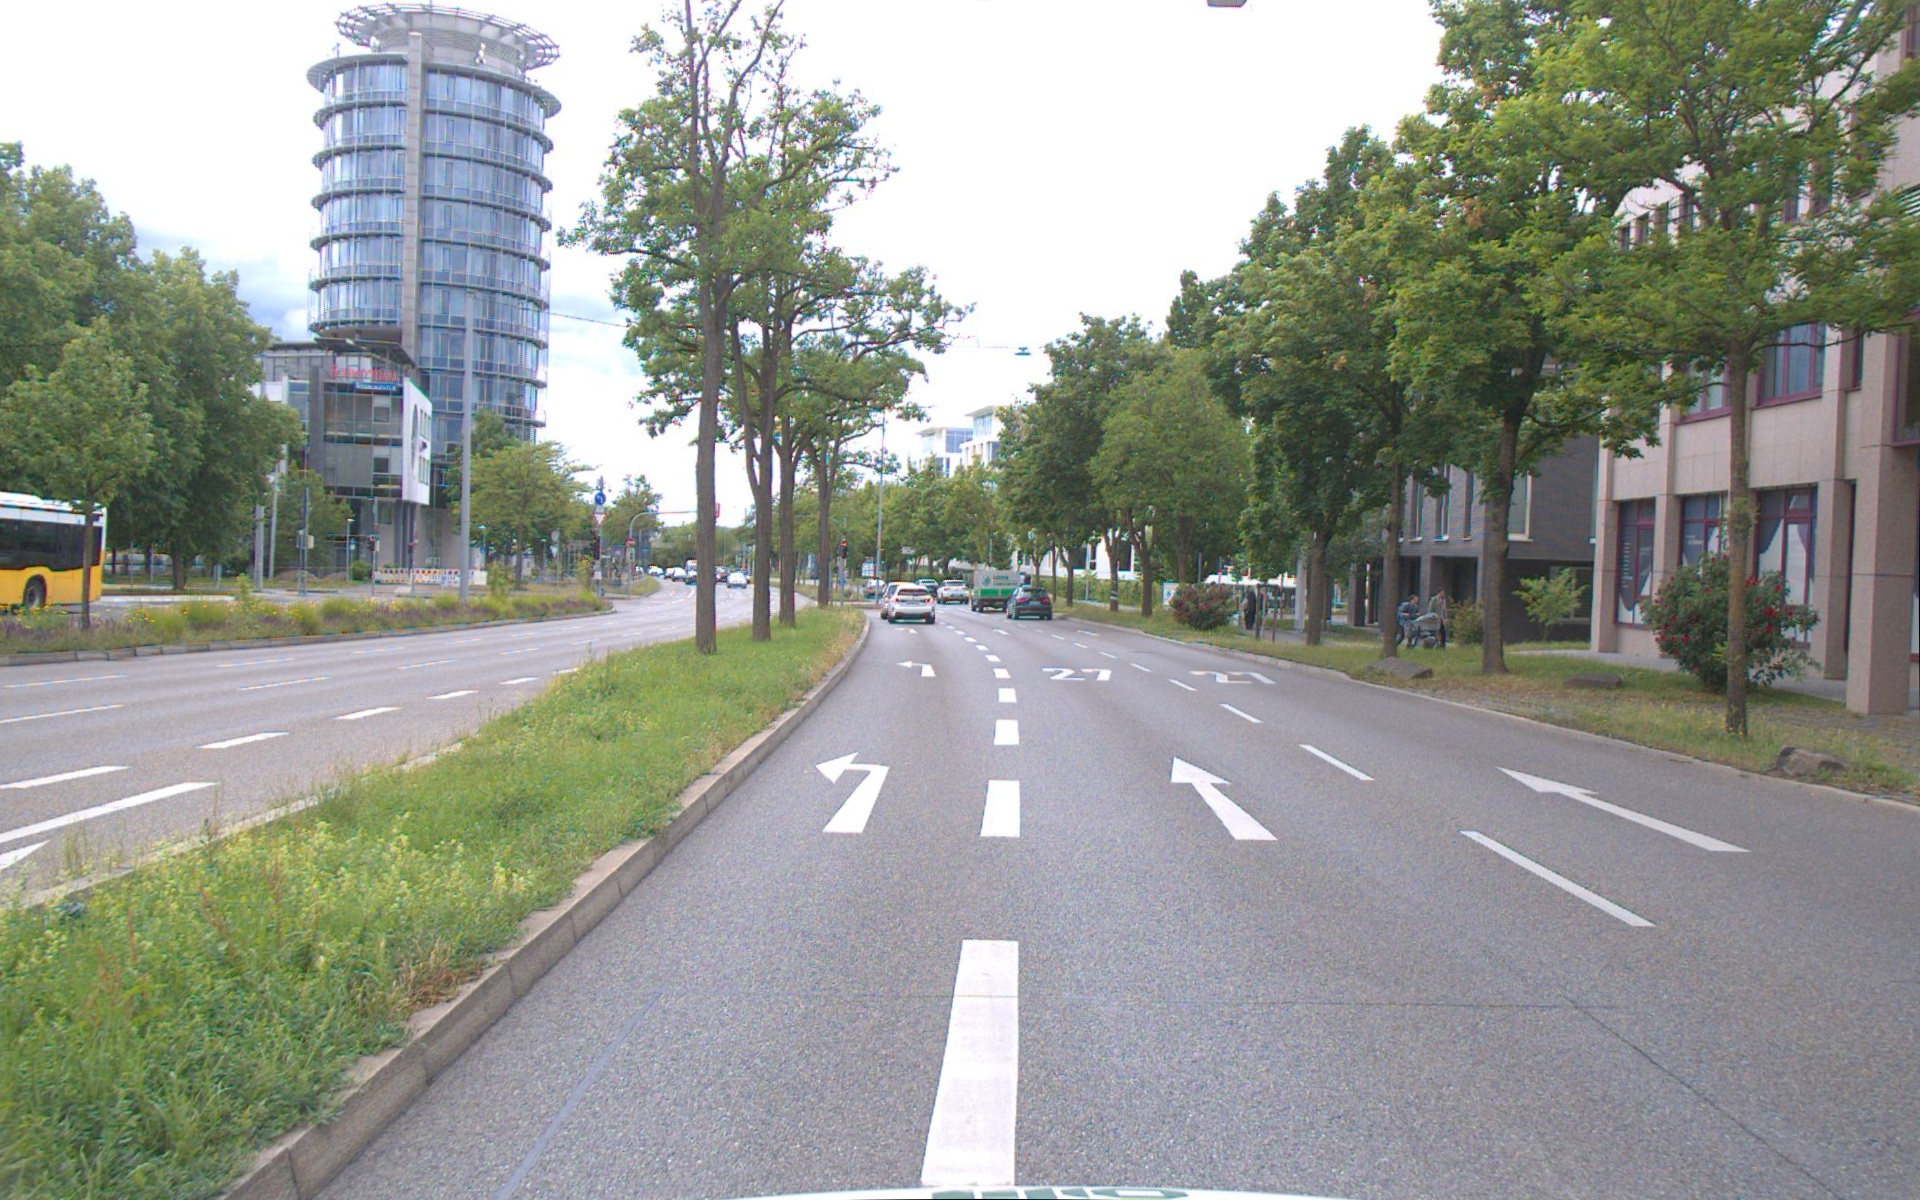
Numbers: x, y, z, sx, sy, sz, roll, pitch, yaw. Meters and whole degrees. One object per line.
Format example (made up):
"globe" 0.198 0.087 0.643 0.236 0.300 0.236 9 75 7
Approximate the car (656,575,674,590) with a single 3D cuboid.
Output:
"car" -39.155 -2.277 219.848 1.955 1.885 4.319 3 0 -6

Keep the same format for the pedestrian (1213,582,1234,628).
"pedestrian" 10.667 0.204 66.946 0.596 1.806 0.953 1 2 -3

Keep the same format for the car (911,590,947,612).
"car" -2.315 0.039 122.321 1.958 1.534 3.989 1 0 -11

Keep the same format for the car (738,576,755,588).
"car" -25.132 -2.158 194.958 1.719 1.395 3.777 0 0 -3

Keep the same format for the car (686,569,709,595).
"car" -28.814 -2.002 181.755 1.955 2.680 5.868 3 0 -6

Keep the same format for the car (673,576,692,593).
"car" -34.380 -1.923 204.870 1.955 2.046 4.319 3 0 -6

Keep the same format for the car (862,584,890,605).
"car" -6.544 -0.415 128.252 1.955 1.517 3.995 2 0 -6

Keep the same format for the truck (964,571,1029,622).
"truck" 1.913 -0.159 89.481 2.804 2.563 6.280 1 0 -5

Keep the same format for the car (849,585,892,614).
"car" -4.954 0.006 91.786 1.952 1.534 4.001 1 0 2

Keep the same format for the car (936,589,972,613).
"car" -0.422 0.037 108.846 1.955 1.534 3.995 1 0 -6

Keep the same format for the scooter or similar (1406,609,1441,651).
"scooter or similar" 11.506 0.739 41.094 0.572 1.011 0.845 0 0 -6

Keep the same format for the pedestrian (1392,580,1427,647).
"pedestrian" 11.408 0.342 41.987 0.544 1.681 0.960 0 0 -6

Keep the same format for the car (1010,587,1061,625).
"car" 3.365 0.240 74.250 1.953 1.624 3.998 1 0 -2

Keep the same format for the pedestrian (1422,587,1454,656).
"pedestrian" 12.187 0.538 42.180 0.555 1.729 0.829 1 -1 2

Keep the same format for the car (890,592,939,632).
"car" -1.779 0.470 65.711 1.825 1.474 3.999 1 0 -1

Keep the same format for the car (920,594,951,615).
"car" -1.859 0.312 124.386 1.955 1.517 3.995 2 0 -6

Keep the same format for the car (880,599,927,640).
"car" -2.472 0.850 72.293 1.953 1.701 3.998 1 0 -2

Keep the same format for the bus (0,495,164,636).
"bus" -25.275 -0.936 44.052 2.969 3.515 9.913 3 0 1

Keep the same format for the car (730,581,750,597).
"car" -21.677 -1.099 163.136 1.719 1.469 4.129 3 0 -6
